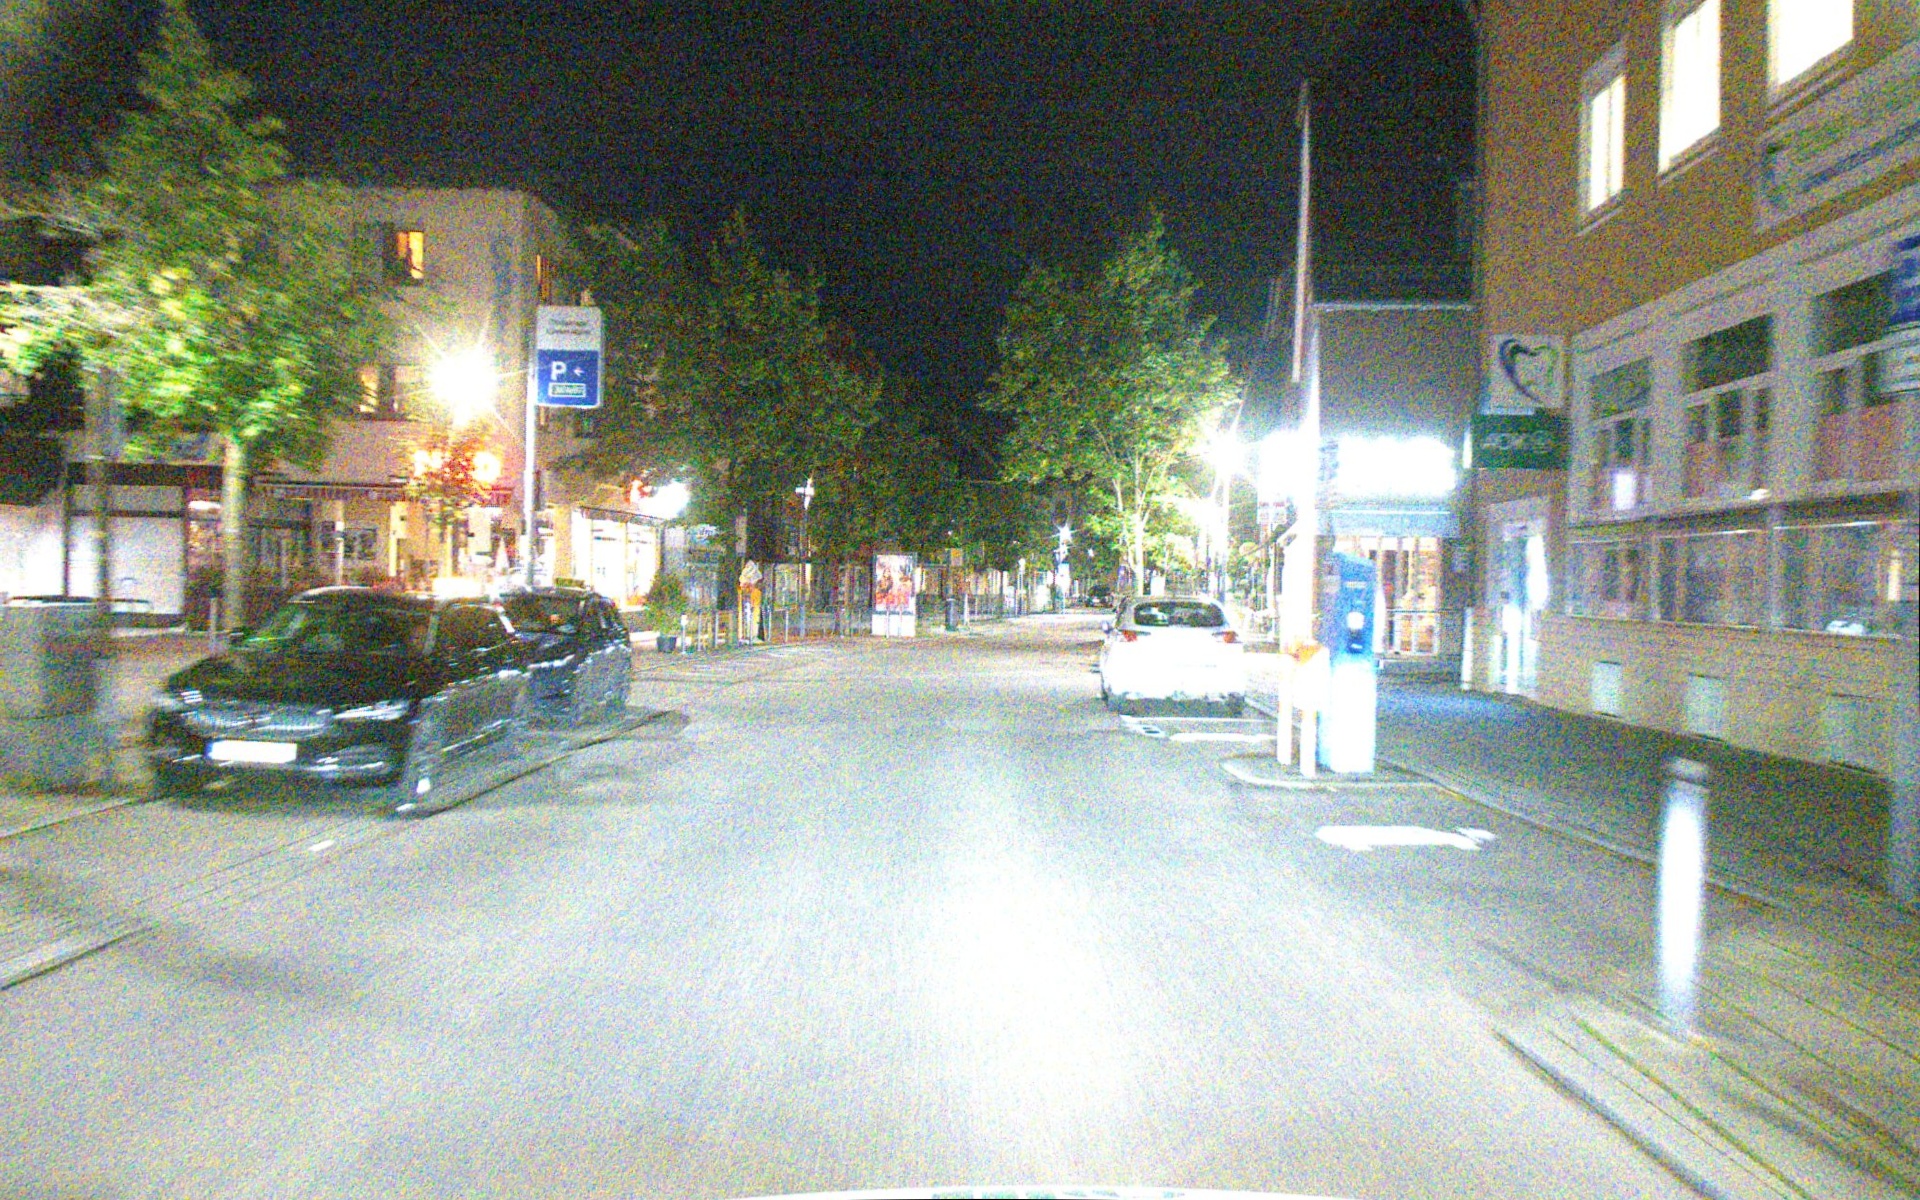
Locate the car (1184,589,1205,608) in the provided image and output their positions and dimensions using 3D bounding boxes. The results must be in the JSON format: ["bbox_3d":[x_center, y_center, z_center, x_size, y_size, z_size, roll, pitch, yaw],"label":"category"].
[{"bbox_3d":[18.941,-0.156,133.754,1.639,1.485,3.679,0,1,8],"label":"car"}]

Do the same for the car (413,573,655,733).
[{"bbox_3d":[-4.876,0.527,19.626,1.723,1.666,4.814,0,1,-1],"label":"car"}]

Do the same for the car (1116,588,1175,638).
[{"bbox_3d":[5.792,0.384,51.916,1.698,1.466,4.499,0,1,5],"label":"car"}]

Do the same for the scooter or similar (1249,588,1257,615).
[{"bbox_3d":[14.243,0.058,80.286,0.365,1.299,1.306,0,-1,11],"label":"scooter or similar"}]

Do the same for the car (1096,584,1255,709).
[{"bbox_3d":[2.819,0.589,22.494,1.706,1.513,4.637,0,-1,2],"label":"car"}]

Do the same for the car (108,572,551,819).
[{"bbox_3d":[-4.688,0.605,13.159,1.867,1.568,4.779,1,0,-3],"label":"car"}]

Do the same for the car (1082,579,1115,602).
[{"bbox_3d":[10.882,-0.745,129.588,1.975,1.720,5.007,2,1,11],"label":"car"}]

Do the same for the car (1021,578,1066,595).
[{"bbox_3d":[8.130,-1.284,160.785,4.078,1.463,1.842,-3,0,14],"label":"car"}]
